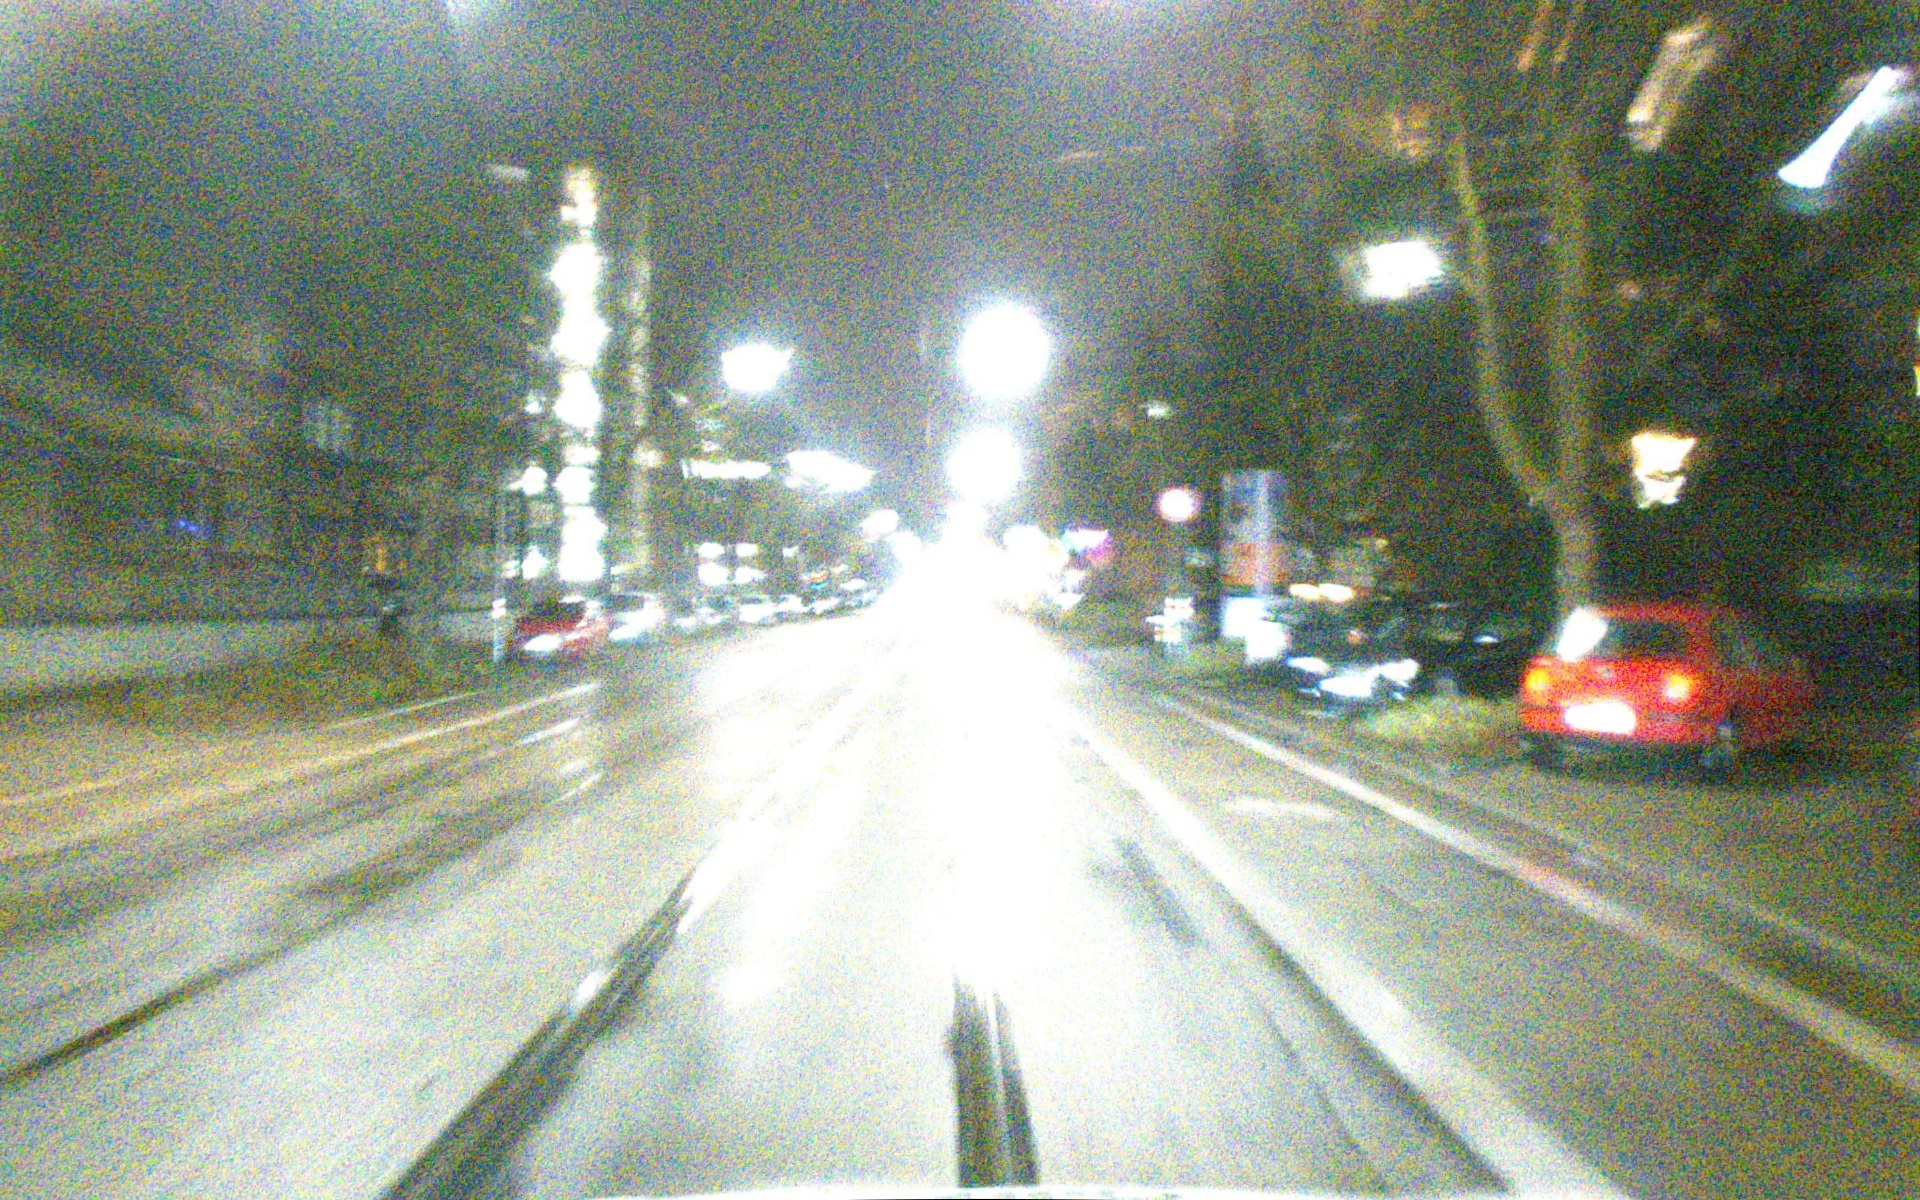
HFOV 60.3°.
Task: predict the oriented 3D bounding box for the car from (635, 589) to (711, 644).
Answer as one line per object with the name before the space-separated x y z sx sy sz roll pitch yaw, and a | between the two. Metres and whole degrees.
car | -10.031 0.572 58.079 1.982 1.791 3.999 2 -1 -1

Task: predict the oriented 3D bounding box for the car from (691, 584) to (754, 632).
car | -9.615 0.340 67.222 1.982 1.791 3.999 2 -1 -1

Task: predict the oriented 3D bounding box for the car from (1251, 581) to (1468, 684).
car | 6.866 0.552 28.215 1.878 1.599 3.935 2 0 43

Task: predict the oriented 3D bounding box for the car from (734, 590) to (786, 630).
car | -9.466 0.473 78.546 1.982 1.791 3.999 2 -1 -1

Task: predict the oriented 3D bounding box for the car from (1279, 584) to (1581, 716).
car | 6.120 0.615 21.265 1.919 1.480 4.217 2 0 45

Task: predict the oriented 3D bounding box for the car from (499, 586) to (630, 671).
car | -9.174 0.641 38.794 2.066 1.795 4.962 2 -1 -3

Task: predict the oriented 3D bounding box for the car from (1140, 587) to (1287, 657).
car | 6.267 0.545 40.621 1.874 1.599 3.944 2 0 38

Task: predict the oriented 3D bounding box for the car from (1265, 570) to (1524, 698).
car | 6.629 0.497 24.990 1.996 1.728 4.220 2 0 43

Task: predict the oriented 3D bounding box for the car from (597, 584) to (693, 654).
car | -8.983 0.537 47.438 1.959 1.816 3.999 2 -1 -1

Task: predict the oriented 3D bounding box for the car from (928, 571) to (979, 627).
car | -0.363 -0.066 77.878 2.172 2.484 5.382 1 0 -2

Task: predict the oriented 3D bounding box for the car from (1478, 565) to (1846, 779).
car | 6.509 0.588 15.128 2.019 1.651 3.807 2 0 41
